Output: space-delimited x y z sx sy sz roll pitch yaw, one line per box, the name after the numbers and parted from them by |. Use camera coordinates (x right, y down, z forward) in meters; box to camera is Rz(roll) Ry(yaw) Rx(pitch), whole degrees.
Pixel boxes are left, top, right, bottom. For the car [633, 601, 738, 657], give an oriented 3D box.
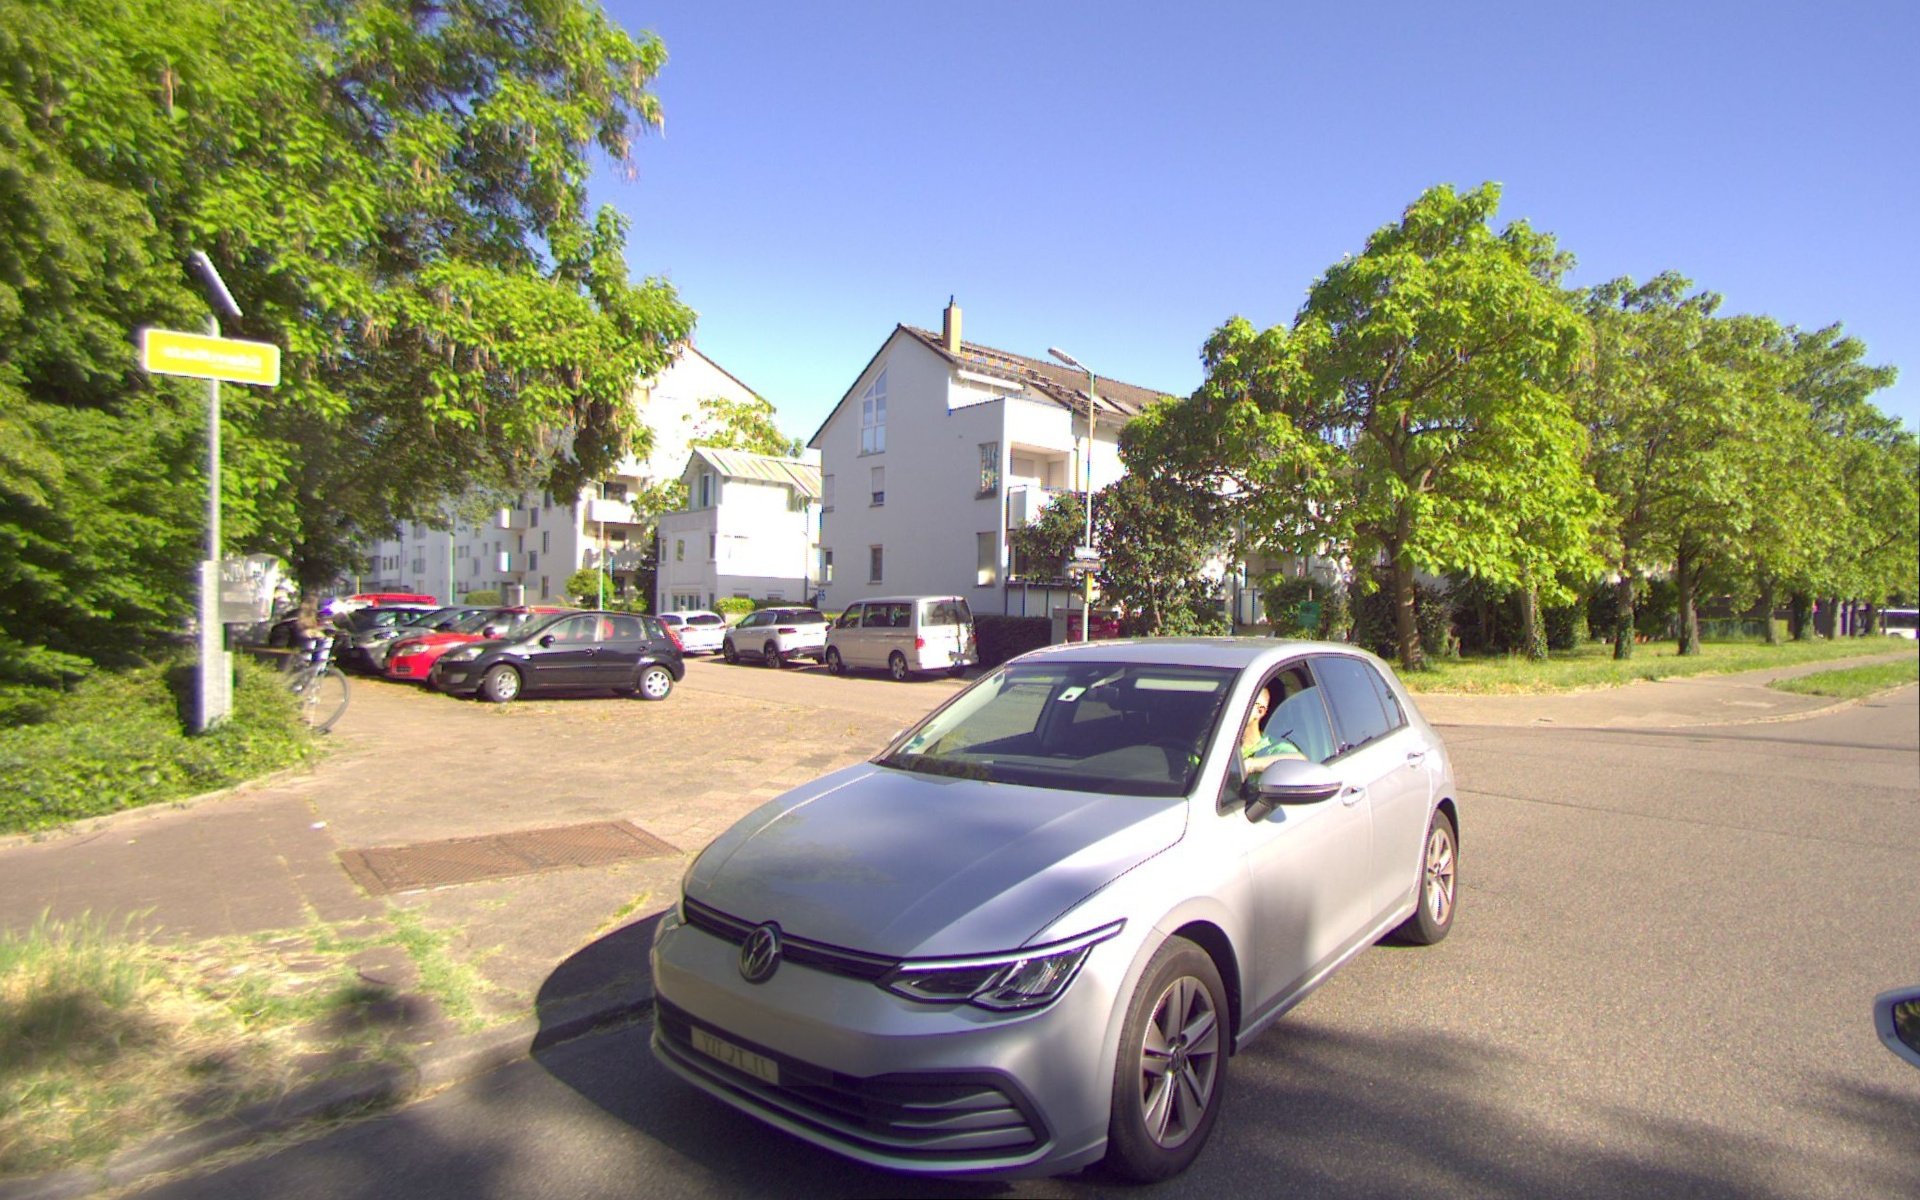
-9.441 0.951 34.352 1.907 1.806 4.046 1 -1 -41 | car

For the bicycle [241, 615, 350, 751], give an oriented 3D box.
-6.396 0.742 9.751 0.751 1.167 1.890 1 -1 -30 | bicycle

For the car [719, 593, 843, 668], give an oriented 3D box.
-5.276 0.855 29.317 1.920 2.024 3.956 1 -1 -38 | car

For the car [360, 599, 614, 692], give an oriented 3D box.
-8.534 0.835 18.320 3.857 1.506 1.655 4 -2 -42 | car

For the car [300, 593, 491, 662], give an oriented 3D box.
-14.049 0.710 25.102 3.857 1.577 1.655 4 -2 -42 | car

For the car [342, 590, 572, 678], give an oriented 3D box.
-10.170 0.723 20.456 3.857 1.624 1.655 4 -2 -42 | car

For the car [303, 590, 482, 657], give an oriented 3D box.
-16.768 0.734 29.808 4.324 1.831 1.655 4 -2 -42 | car

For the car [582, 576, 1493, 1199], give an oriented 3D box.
0.818 0.805 4.122 1.641 1.485 4.171 -1 -3 39 | car

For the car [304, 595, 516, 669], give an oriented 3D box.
-12.224 0.737 22.457 3.857 1.506 1.655 4 -2 -42 | car

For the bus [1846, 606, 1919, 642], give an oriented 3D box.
80.073 2.051 82.930 10.376 2.862 3.050 1 -1 8 | bus

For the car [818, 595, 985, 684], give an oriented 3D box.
-1.548 0.905 24.959 2.050 1.995 4.418 0 0 -38 | car

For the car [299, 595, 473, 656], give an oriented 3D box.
-15.651 0.715 27.484 3.857 1.506 1.655 4 -2 -42 | car

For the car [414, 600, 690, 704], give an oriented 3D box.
-6.619 0.849 16.539 3.858 1.506 1.654 4 -2 -43 | car
